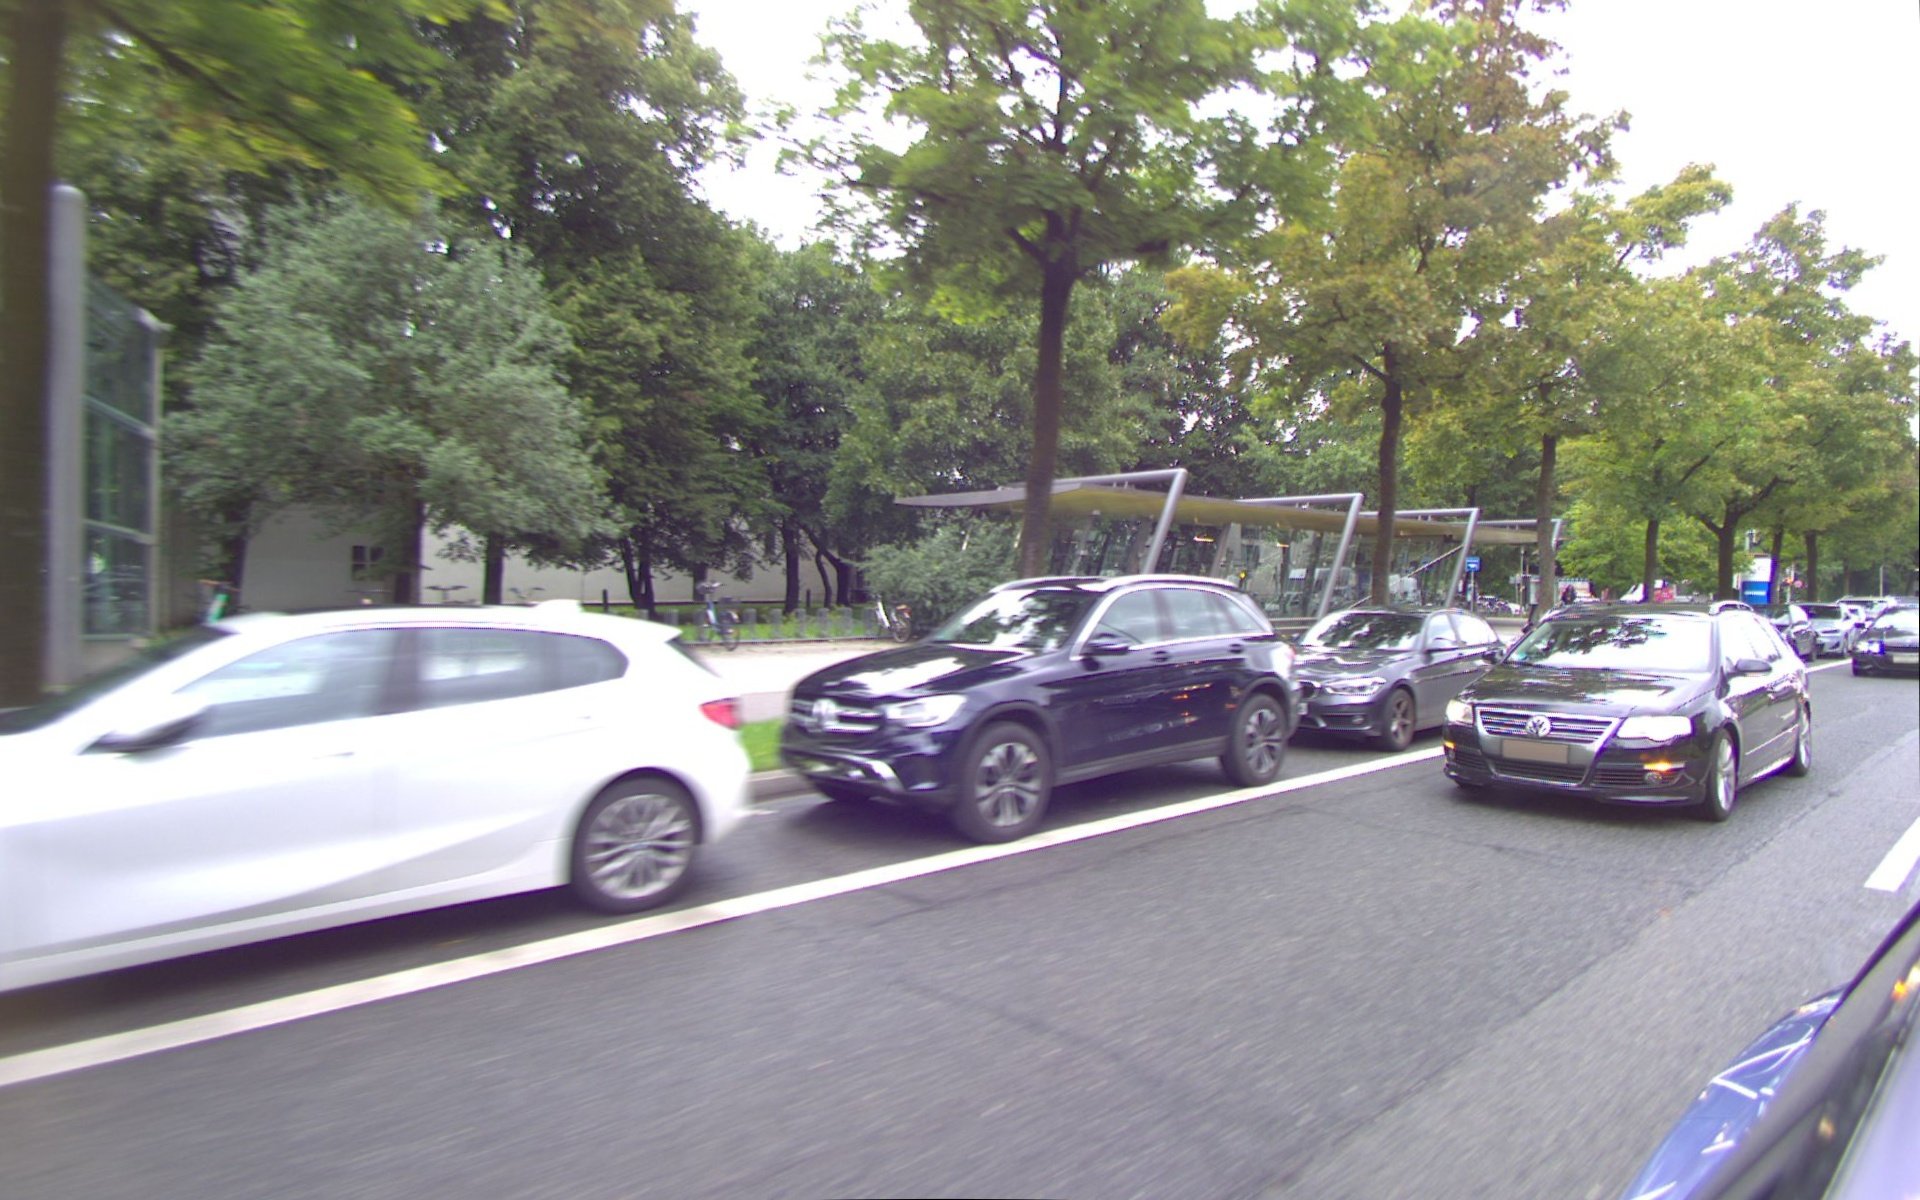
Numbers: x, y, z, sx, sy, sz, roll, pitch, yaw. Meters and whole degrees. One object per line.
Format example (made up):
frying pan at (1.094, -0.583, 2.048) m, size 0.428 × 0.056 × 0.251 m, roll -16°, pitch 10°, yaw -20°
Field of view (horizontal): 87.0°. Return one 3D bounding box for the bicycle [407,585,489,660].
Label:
bicycle at (-8.338, 0.325, 16.417) m, size 0.636 × 1.102 × 2.547 m, roll 0°, pitch 1°, yaw -40°

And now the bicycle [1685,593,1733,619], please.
bicycle at (38.771, 0.303, 52.364) m, size 1.936 × 1.227 × 0.559 m, roll 4°, pitch 3°, yaw 39°

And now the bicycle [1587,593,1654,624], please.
bicycle at (28.780, 0.341, 44.126) m, size 0.520 × 1.171 × 2.344 m, roll 1°, pitch 3°, yaw -40°

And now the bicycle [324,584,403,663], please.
bicycle at (-9.259, 0.324, 15.651) m, size 0.636 × 1.102 × 2.547 m, roll 0°, pitch 1°, yaw -40°

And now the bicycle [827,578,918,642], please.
bicycle at (-1.969, 0.187, 22.333) m, size 0.636 × 1.296 × 2.547 m, roll 0°, pitch 1°, yaw -40°

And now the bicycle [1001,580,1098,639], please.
bicycle at (2.093, 0.200, 23.343) m, size 2.506 × 1.296 × 0.646 m, roll 0°, pitch 1°, yaw -41°

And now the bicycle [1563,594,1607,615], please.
bicycle at (36.737, 0.276, 59.468) m, size 2.088 × 1.168 × 0.718 m, roll 1°, pitch 1°, yaw 0°

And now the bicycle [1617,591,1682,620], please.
bicycle at (31.438, 0.252, 46.168) m, size 0.520 × 1.171 × 2.344 m, roll 1°, pitch 3°, yaw -40°

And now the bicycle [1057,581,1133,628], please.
bicycle at (3.895, 0.123, 29.016) m, size 2.506 × 1.296 × 0.646 m, roll 0°, pitch 1°, yaw -41°

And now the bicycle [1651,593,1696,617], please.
bicycle at (37.017, 0.256, 52.526) m, size 0.556 × 1.156 × 1.813 m, roll 0°, pitch 3°, yaw -35°

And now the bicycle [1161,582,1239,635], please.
bicycle at (6.287, 0.205, 26.421) m, size 2.506 × 1.296 × 0.646 m, roll 0°, pitch 1°, yaw -41°

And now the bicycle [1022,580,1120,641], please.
bicycle at (2.533, 0.219, 22.772) m, size 2.506 × 1.296 × 0.646 m, roll 0°, pitch 1°, yaw -41°

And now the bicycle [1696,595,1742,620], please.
bicycle at (38.650, 0.359, 51.550) m, size 1.803 × 1.156 × 0.559 m, roll 4°, pitch 3°, yaw 39°

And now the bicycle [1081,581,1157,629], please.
bicycle at (4.522, 0.124, 28.566) m, size 2.506 × 1.296 × 0.646 m, roll 0°, pitch 1°, yaw -41°

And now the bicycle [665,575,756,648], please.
bicycle at (-4.800, 0.175, 19.314) m, size 0.636 × 1.296 × 2.547 m, roll 0°, pitch 1°, yaw -40°

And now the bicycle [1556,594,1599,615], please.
bicycle at (36.761, 0.274, 60.274) m, size 2.088 × 1.168 × 0.718 m, roll 1°, pitch 1°, yaw 0°

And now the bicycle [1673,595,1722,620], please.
bicycle at (36.582, 0.353, 50.214) m, size 0.556 × 1.156 × 1.813 m, roll 0°, pitch 3°, yaw -35°

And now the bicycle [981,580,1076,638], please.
bicycle at (1.642, 0.199, 23.849) m, size 2.506 × 1.296 × 0.646 m, roll 0°, pitch 1°, yaw -41°

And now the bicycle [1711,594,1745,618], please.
bicycle at (40.992, 0.307, 54.006) m, size 1.962 × 1.213 × 0.864 m, roll 0°, pitch 3°, yaw -37°

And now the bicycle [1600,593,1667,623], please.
bicycle at (29.610, 0.340, 44.531) m, size 2.337 × 1.171 × 0.521 m, roll 5°, pitch 3°, yaw 42°

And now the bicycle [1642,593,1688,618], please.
bicycle at (36.138, 0.257, 51.867) m, size 0.557 × 1.156 × 1.811 m, roll 0°, pitch 3°, yaw -39°

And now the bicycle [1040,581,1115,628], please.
bicycle at (3.466, 0.121, 29.577) m, size 2.506 × 1.296 × 0.646 m, roll 0°, pitch 1°, yaw -41°

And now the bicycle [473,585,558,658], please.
bicycle at (-7.547, 0.324, 17.110) m, size 0.636 × 1.102 × 2.547 m, roll 0°, pitch 1°, yaw -40°

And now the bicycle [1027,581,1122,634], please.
bicycle at (2.964, 0.169, 26.346) m, size 2.534 × 1.296 × 0.486 m, roll 2°, pitch 1°, yaw 35°

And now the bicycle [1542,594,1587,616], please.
bicycle at (34.325, 0.279, 57.496) m, size 2.091 × 1.168 × 0.718 m, roll 1°, pitch 1°, yaw 5°

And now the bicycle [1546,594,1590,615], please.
bicycle at (35.241, 0.277, 58.654) m, size 2.088 × 1.168 × 0.718 m, roll 1°, pitch 1°, yaw 0°

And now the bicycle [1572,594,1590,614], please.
bicycle at (40.363, 0.226, 65.819) m, size 0.695 × 1.266 × 2.098 m, roll 1°, pitch 1°, yaw 23°

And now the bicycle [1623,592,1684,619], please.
bicycle at (33.855, 0.261, 49.424) m, size 0.574 × 1.171 × 2.344 m, roll 1°, pitch 3°, yaw -40°

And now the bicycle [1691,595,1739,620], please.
bicycle at (37.645, 0.361, 50.503) m, size 0.556 × 1.156 × 1.814 m, roll 1°, pitch 2°, yaw -31°

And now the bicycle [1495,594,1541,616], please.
bicycle at (31.633, 0.274, 57.394) m, size 2.092 × 1.168 × 0.717 m, roll 1°, pitch 1°, yaw 7°
